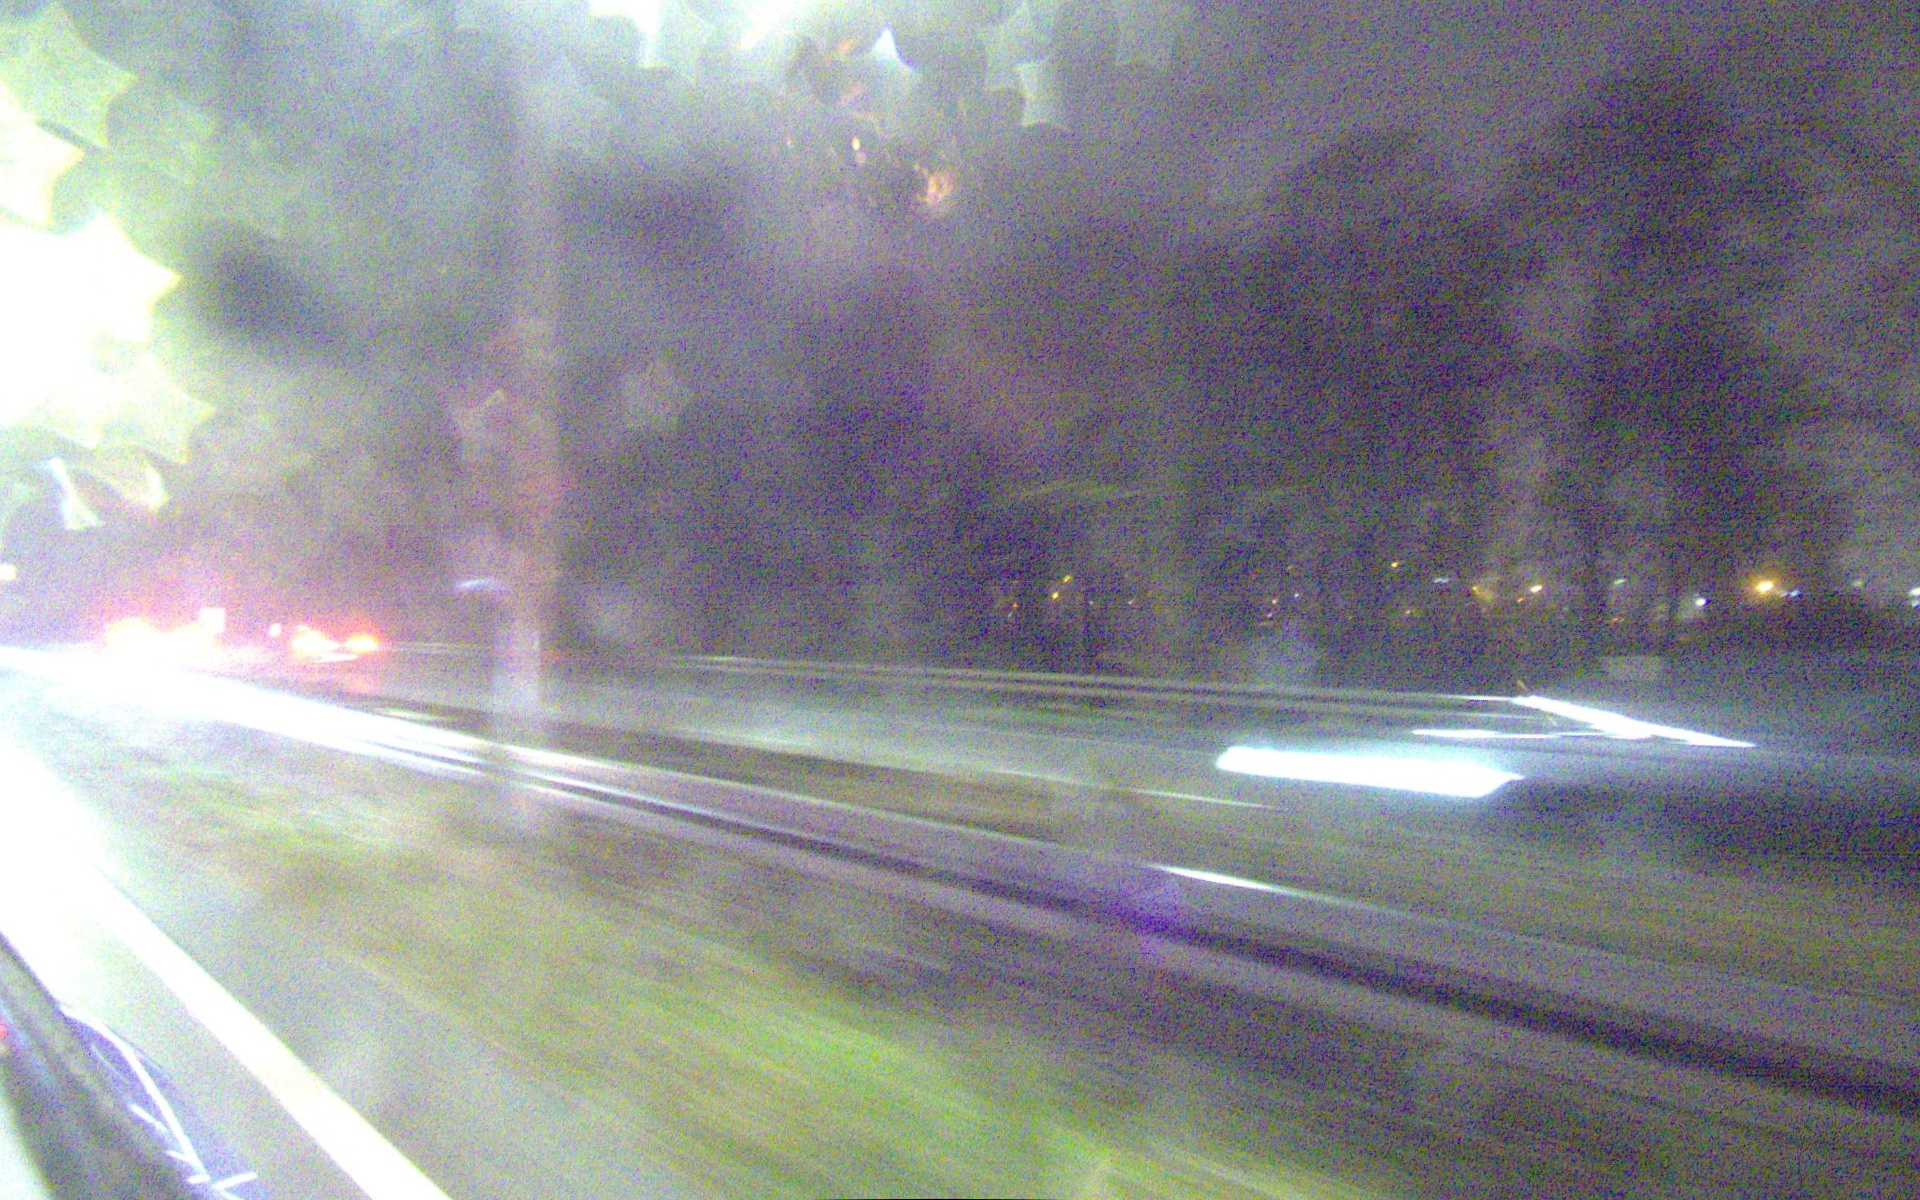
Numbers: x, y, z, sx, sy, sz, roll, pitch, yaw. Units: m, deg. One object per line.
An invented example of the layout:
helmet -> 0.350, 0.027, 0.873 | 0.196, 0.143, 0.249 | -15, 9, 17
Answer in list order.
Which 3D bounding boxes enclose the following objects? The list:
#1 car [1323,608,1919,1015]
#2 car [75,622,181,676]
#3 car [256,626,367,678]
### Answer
car -> 4.245, 0.782, 4.280 | 4.776, 1.487, 1.836 | -1, -1, 41
car -> -23.546, 1.333, 28.579 | 4.744, 1.392, 1.593 | -1, -1, 42
car -> -18.753, 1.469, 29.193 | 4.163, 1.392, 1.593 | -1, -3, 42
